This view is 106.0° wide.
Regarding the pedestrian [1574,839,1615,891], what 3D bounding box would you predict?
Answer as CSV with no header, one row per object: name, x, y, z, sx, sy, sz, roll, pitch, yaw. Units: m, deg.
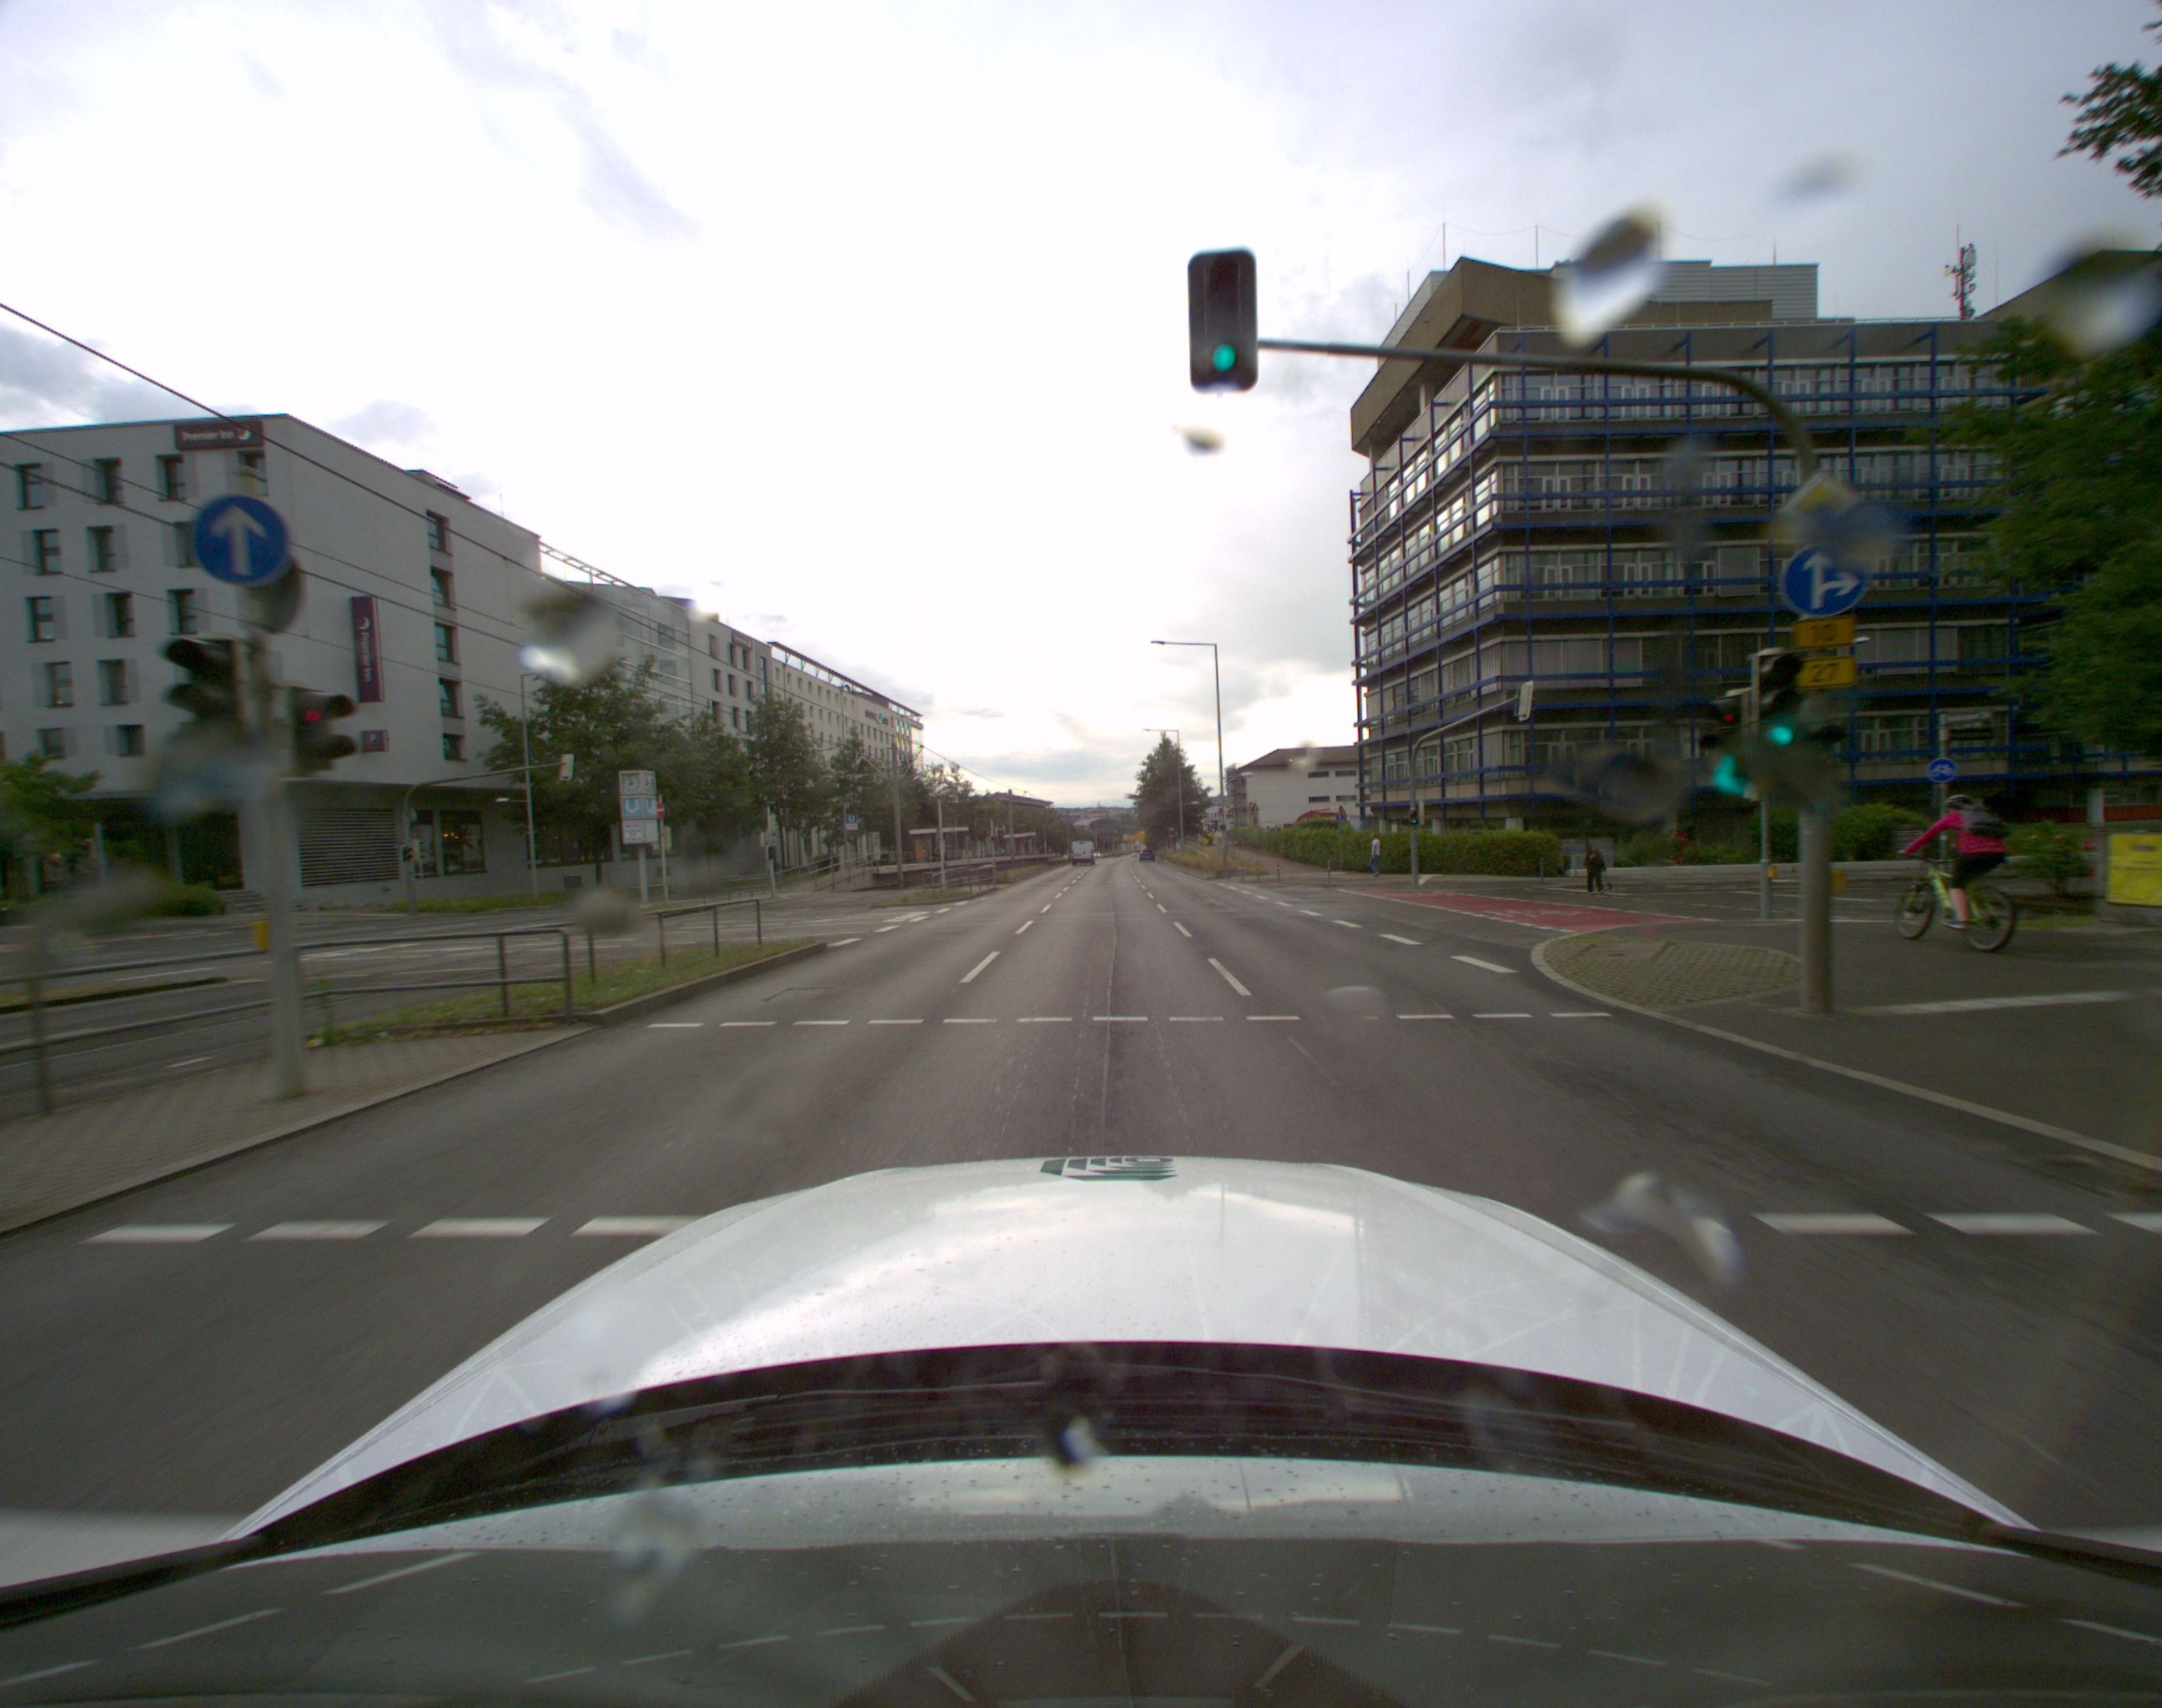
pedestrian,15.737,0.334,24.957,0.892,1.541,0.804,-2,0,41

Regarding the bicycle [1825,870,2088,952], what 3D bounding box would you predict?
bicycle,10.144,0.612,9.611,0.665,0.809,2.319,-1,0,2

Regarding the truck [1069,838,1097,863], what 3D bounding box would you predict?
truck,0.228,-0.305,78.527,2.350,2.262,5.310,-1,0,3

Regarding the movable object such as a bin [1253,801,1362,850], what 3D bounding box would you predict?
movable object such as a bin,27.568,-3.377,99.632,12.093,5.261,3.792,-3,-1,2

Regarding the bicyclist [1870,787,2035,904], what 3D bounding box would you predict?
bicyclist,10.134,-0.095,9.528,0.653,1.288,1.220,0,0,2

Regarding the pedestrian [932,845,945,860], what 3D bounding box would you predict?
pedestrian,-12.167,-0.140,69.555,0.957,1.300,0.685,-2,0,3

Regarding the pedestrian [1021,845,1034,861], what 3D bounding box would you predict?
pedestrian,-6.919,-0.142,105.608,1.256,2.014,1.136,-1,0,20

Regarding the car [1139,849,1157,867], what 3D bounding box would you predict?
car,7.613,0.415,92.789,1.984,2.014,3.940,-1,0,5

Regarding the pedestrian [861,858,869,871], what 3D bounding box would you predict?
pedestrian,-25.555,1.257,96.391,0.597,1.578,0.836,-1,0,4

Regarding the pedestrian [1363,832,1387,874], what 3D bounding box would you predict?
pedestrian,11.855,-0.028,32.828,0.553,1.652,0.830,-2,0,-8

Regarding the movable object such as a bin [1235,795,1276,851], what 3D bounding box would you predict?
movable object such as a bin,18.954,-3.269,89.057,3.274,5.684,8.776,-1,0,5
